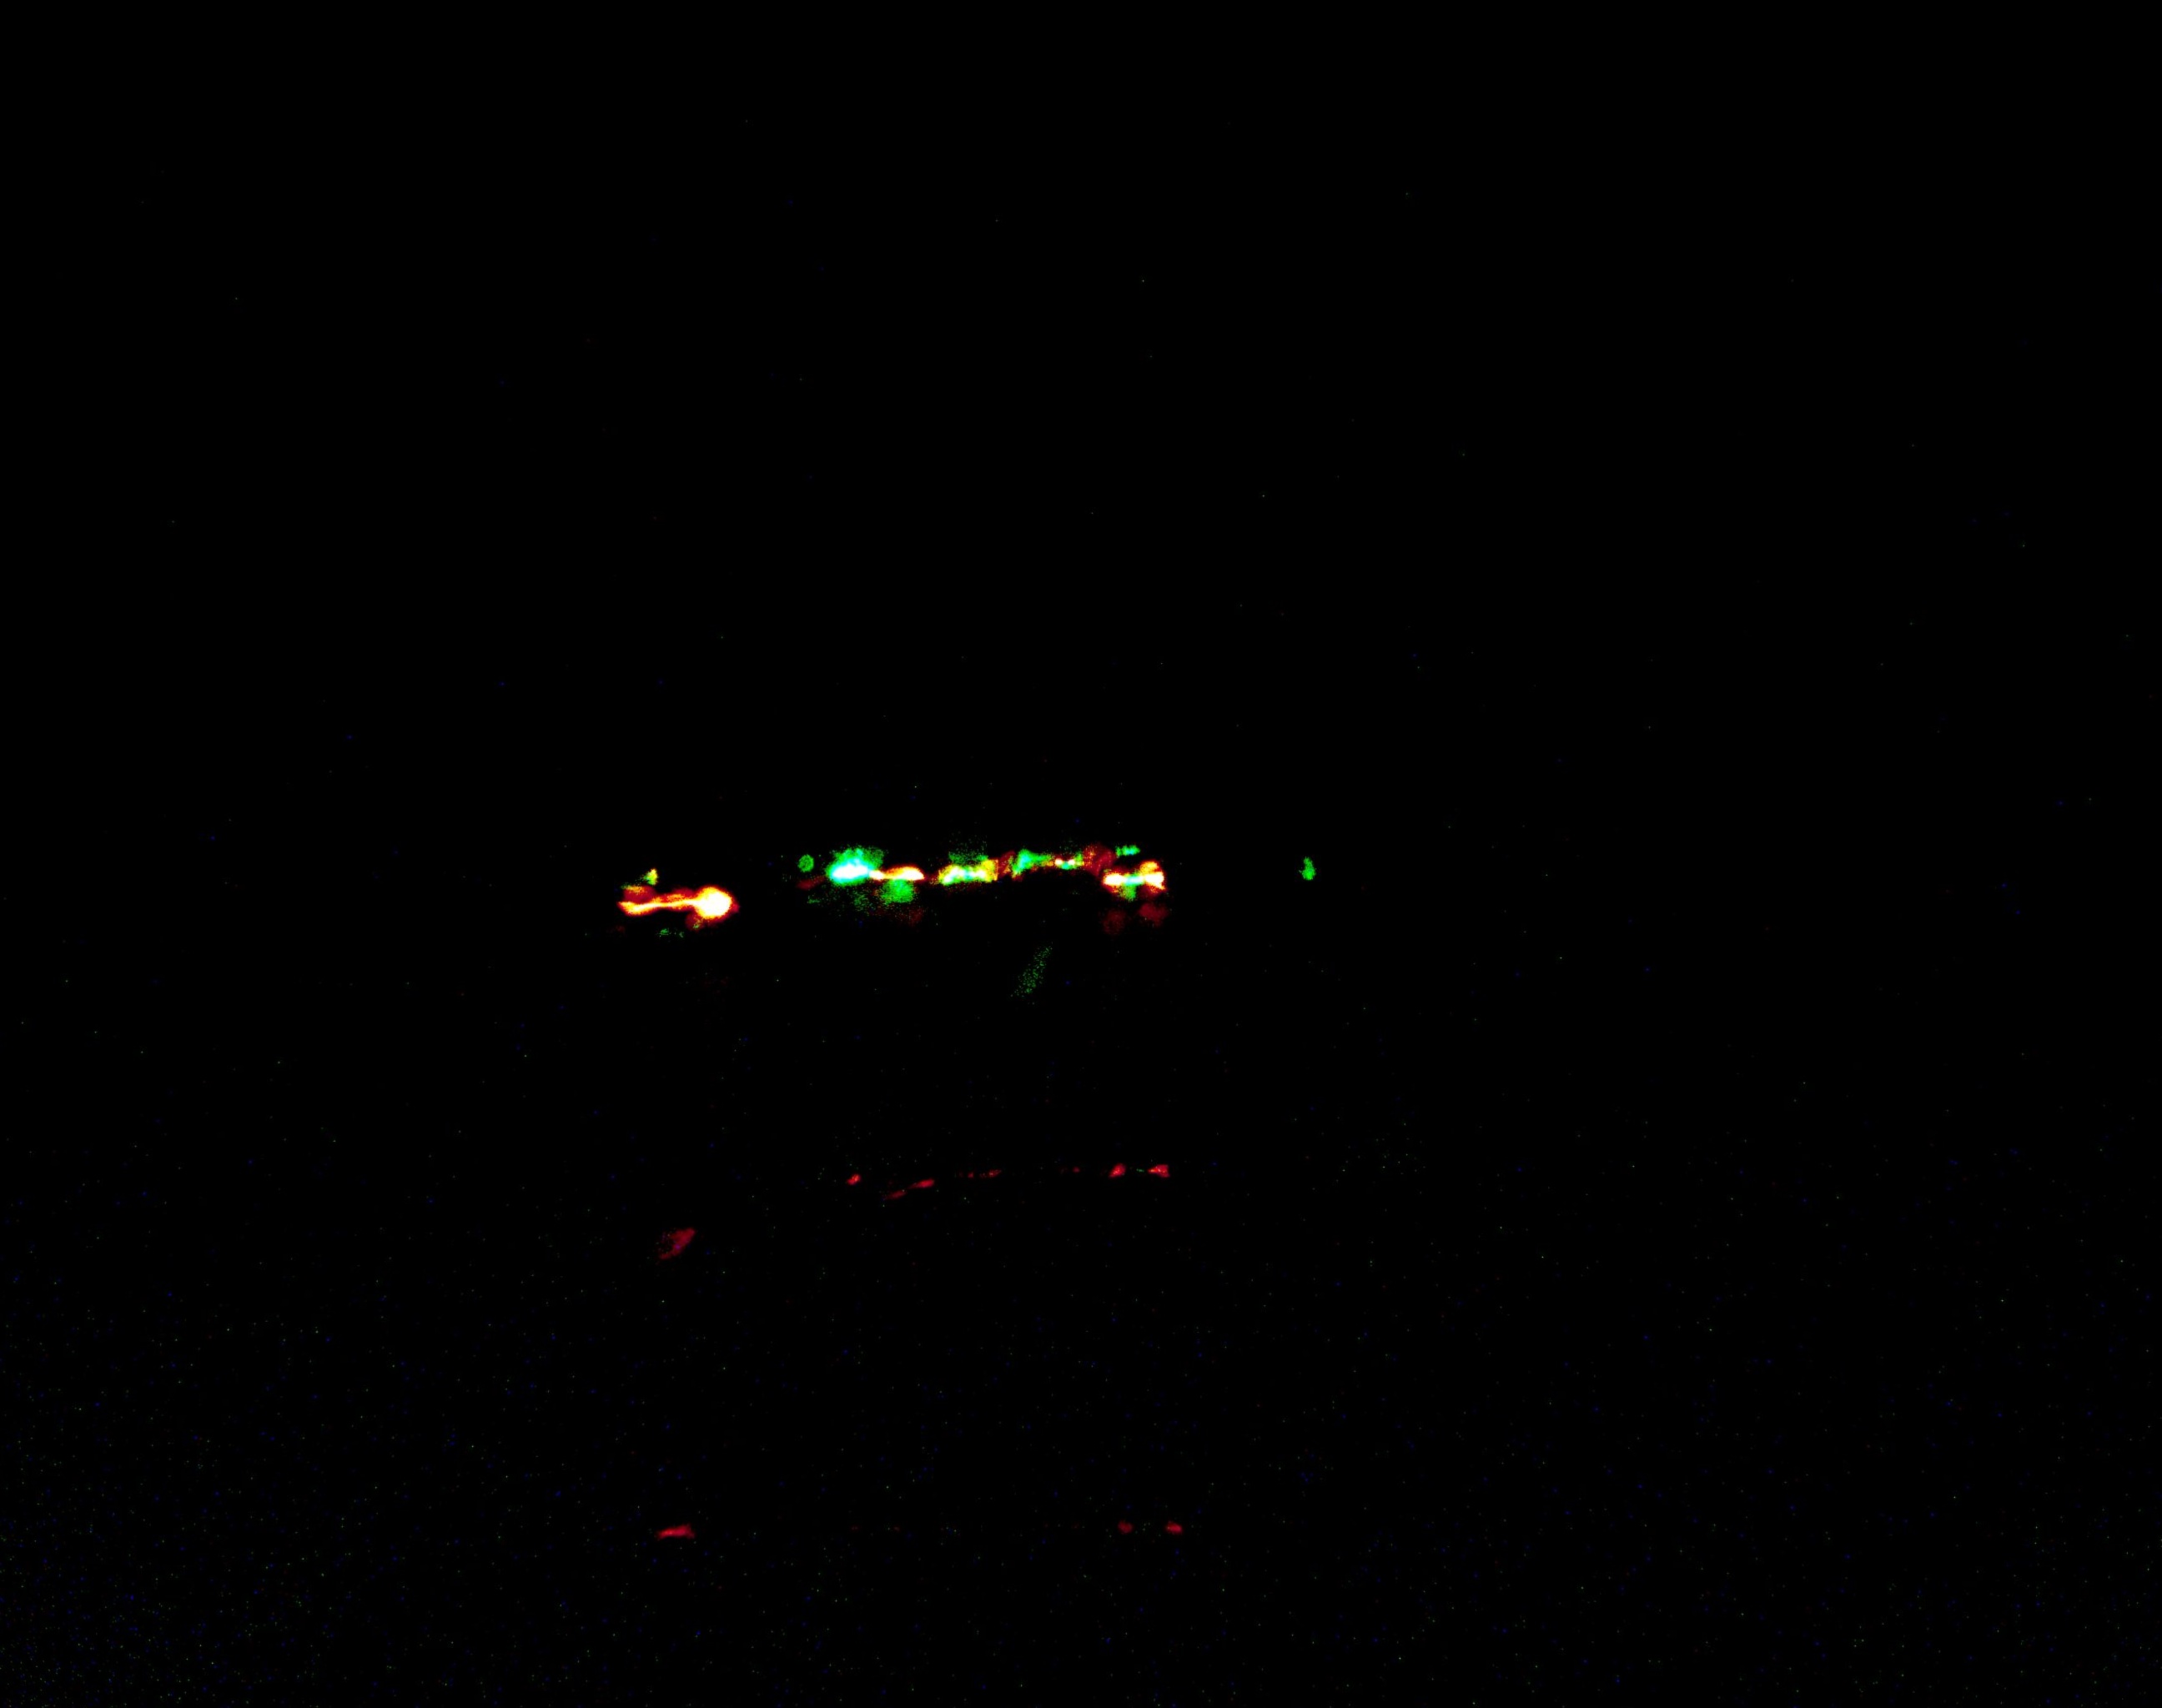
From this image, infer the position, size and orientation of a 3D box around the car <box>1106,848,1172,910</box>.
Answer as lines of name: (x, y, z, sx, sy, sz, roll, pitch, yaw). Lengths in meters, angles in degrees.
car: (1.744, 0.742, 25.575, 1.871, 1.762, 4.002, -1, 0, 2)

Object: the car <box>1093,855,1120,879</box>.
car: (1.959, 0.959, 62.153, 1.986, 1.704, 4.459, -1, 0, 1)

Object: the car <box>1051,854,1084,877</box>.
car: (-1.199, 1.065, 76.052, 2.822, 2.014, 5.512, -1, 0, 2)

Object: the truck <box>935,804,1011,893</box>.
truck: (-6.246, -0.281, 48.941, 3.648, 4.737, 9.841, -1, 0, -3)

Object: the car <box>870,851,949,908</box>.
car: (-5.796, 0.824, 28.095, 2.035, 1.761, 4.509, -1, 0, -4)

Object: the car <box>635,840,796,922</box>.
car: (-10.450, 0.700, 23.923, 2.116, 2.104, 5.629, -1, 0, 0)

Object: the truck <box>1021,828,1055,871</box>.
truck: (-5.651, -0.550, 109.272, 4.244, 5.444, 10.874, -1, 0, -2)

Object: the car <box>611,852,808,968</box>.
car: (-6.304, 0.842, 14.354, 1.761, 1.689, 3.996, -1, 0, -3)

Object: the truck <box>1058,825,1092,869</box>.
truck: (-0.839, -0.822, 103.430, 4.150, 5.215, 9.947, -1, 0, -1)
